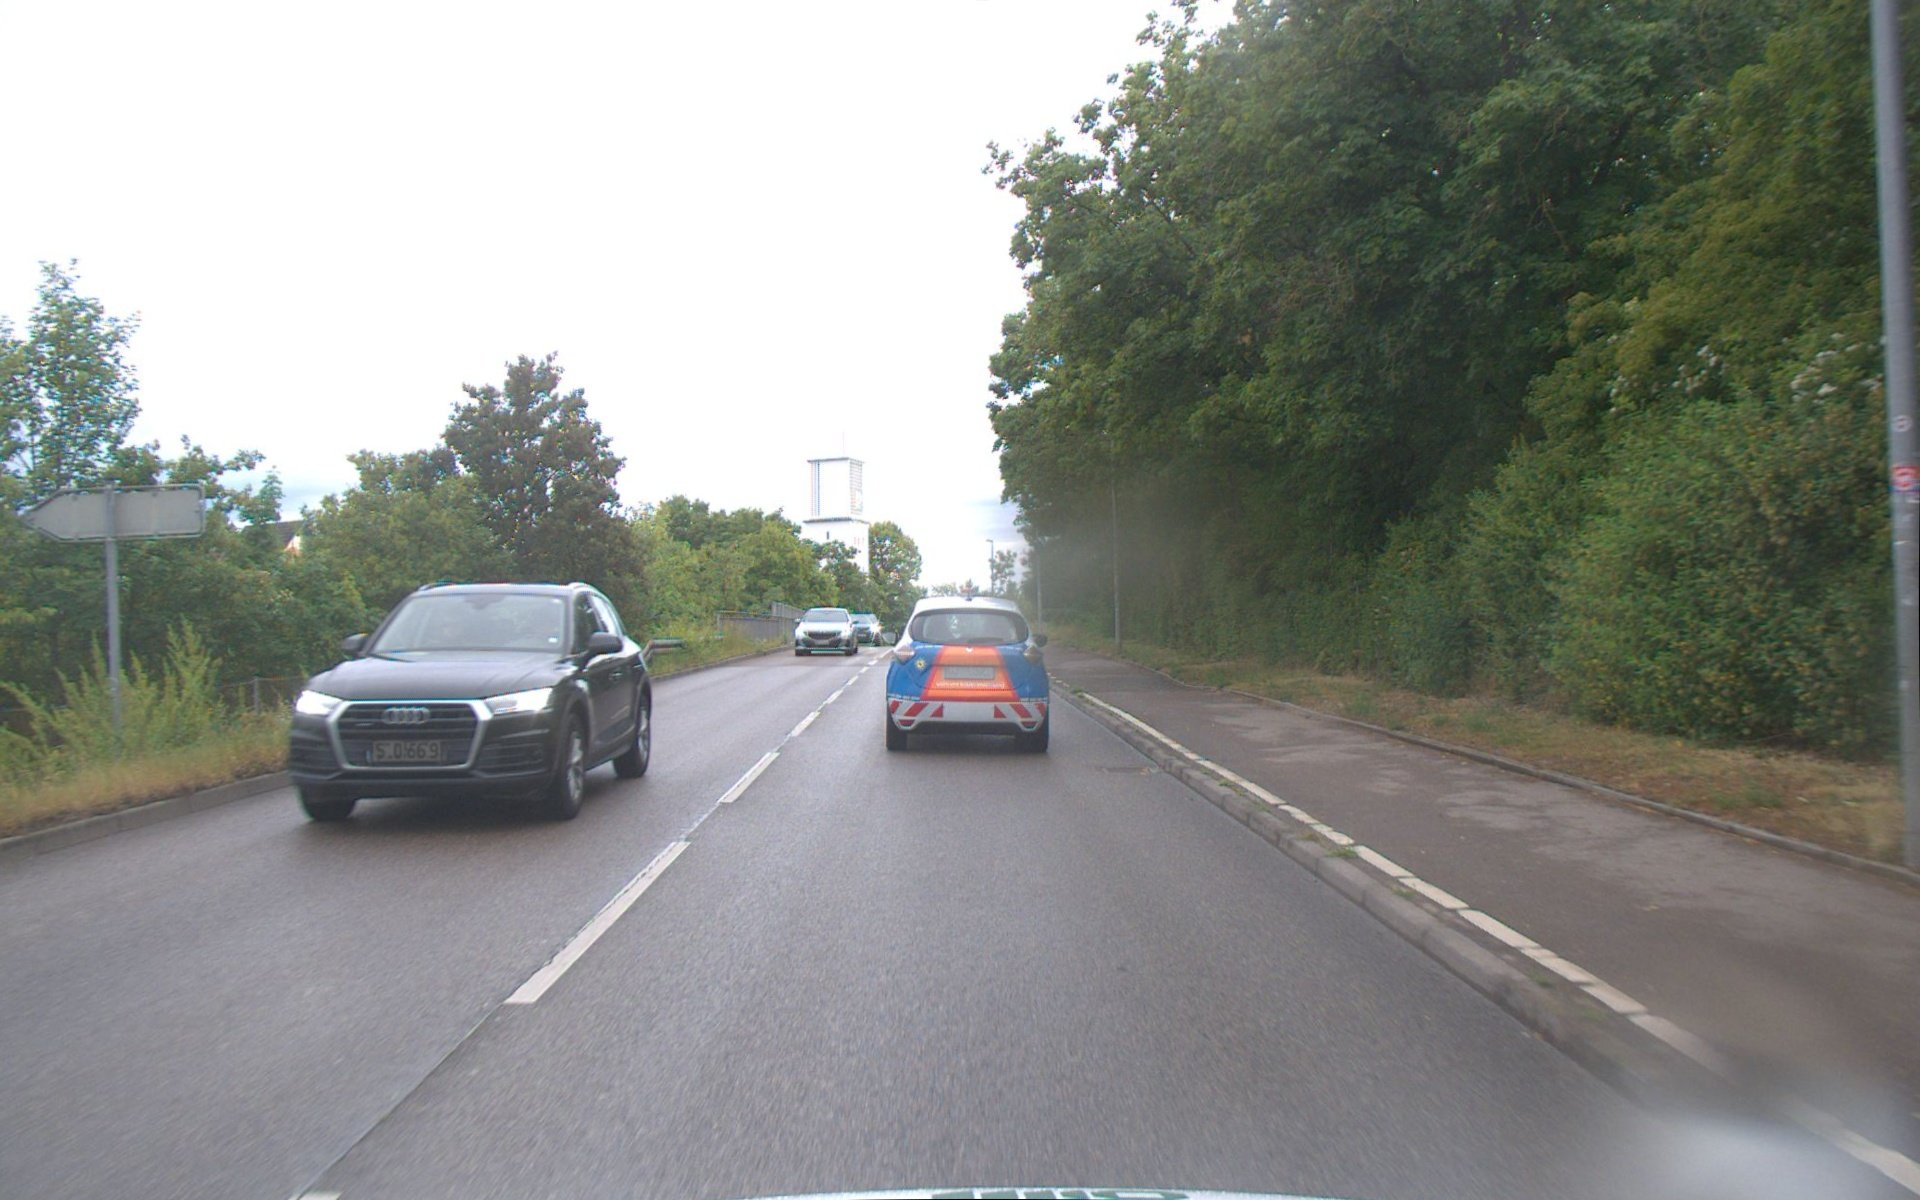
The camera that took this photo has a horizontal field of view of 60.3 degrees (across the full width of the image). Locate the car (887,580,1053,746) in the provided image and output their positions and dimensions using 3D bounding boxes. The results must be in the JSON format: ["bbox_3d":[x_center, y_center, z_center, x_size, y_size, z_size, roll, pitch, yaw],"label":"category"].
[{"bbox_3d":[0.063,0.654,18.080,1.624,1.621,3.567,0,-1,-1],"label":"car"}]

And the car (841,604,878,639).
[{"bbox_3d":[-4.880,1.031,80.629,1.695,1.613,4.079,0,0,-2],"label":"car"}]

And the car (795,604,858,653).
[{"bbox_3d":[-4.356,0.903,54.623,1.824,1.530,4.726,0,0,-2],"label":"car"}]

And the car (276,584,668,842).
[{"bbox_3d":[-3.499,0.715,12.758,1.831,1.613,4.412,-1,0,-2],"label":"car"}]

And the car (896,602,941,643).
[{"bbox_3d":[-1.737,0.944,68.813,1.766,1.618,3.561,-2,-1,-2],"label":"car"}]
